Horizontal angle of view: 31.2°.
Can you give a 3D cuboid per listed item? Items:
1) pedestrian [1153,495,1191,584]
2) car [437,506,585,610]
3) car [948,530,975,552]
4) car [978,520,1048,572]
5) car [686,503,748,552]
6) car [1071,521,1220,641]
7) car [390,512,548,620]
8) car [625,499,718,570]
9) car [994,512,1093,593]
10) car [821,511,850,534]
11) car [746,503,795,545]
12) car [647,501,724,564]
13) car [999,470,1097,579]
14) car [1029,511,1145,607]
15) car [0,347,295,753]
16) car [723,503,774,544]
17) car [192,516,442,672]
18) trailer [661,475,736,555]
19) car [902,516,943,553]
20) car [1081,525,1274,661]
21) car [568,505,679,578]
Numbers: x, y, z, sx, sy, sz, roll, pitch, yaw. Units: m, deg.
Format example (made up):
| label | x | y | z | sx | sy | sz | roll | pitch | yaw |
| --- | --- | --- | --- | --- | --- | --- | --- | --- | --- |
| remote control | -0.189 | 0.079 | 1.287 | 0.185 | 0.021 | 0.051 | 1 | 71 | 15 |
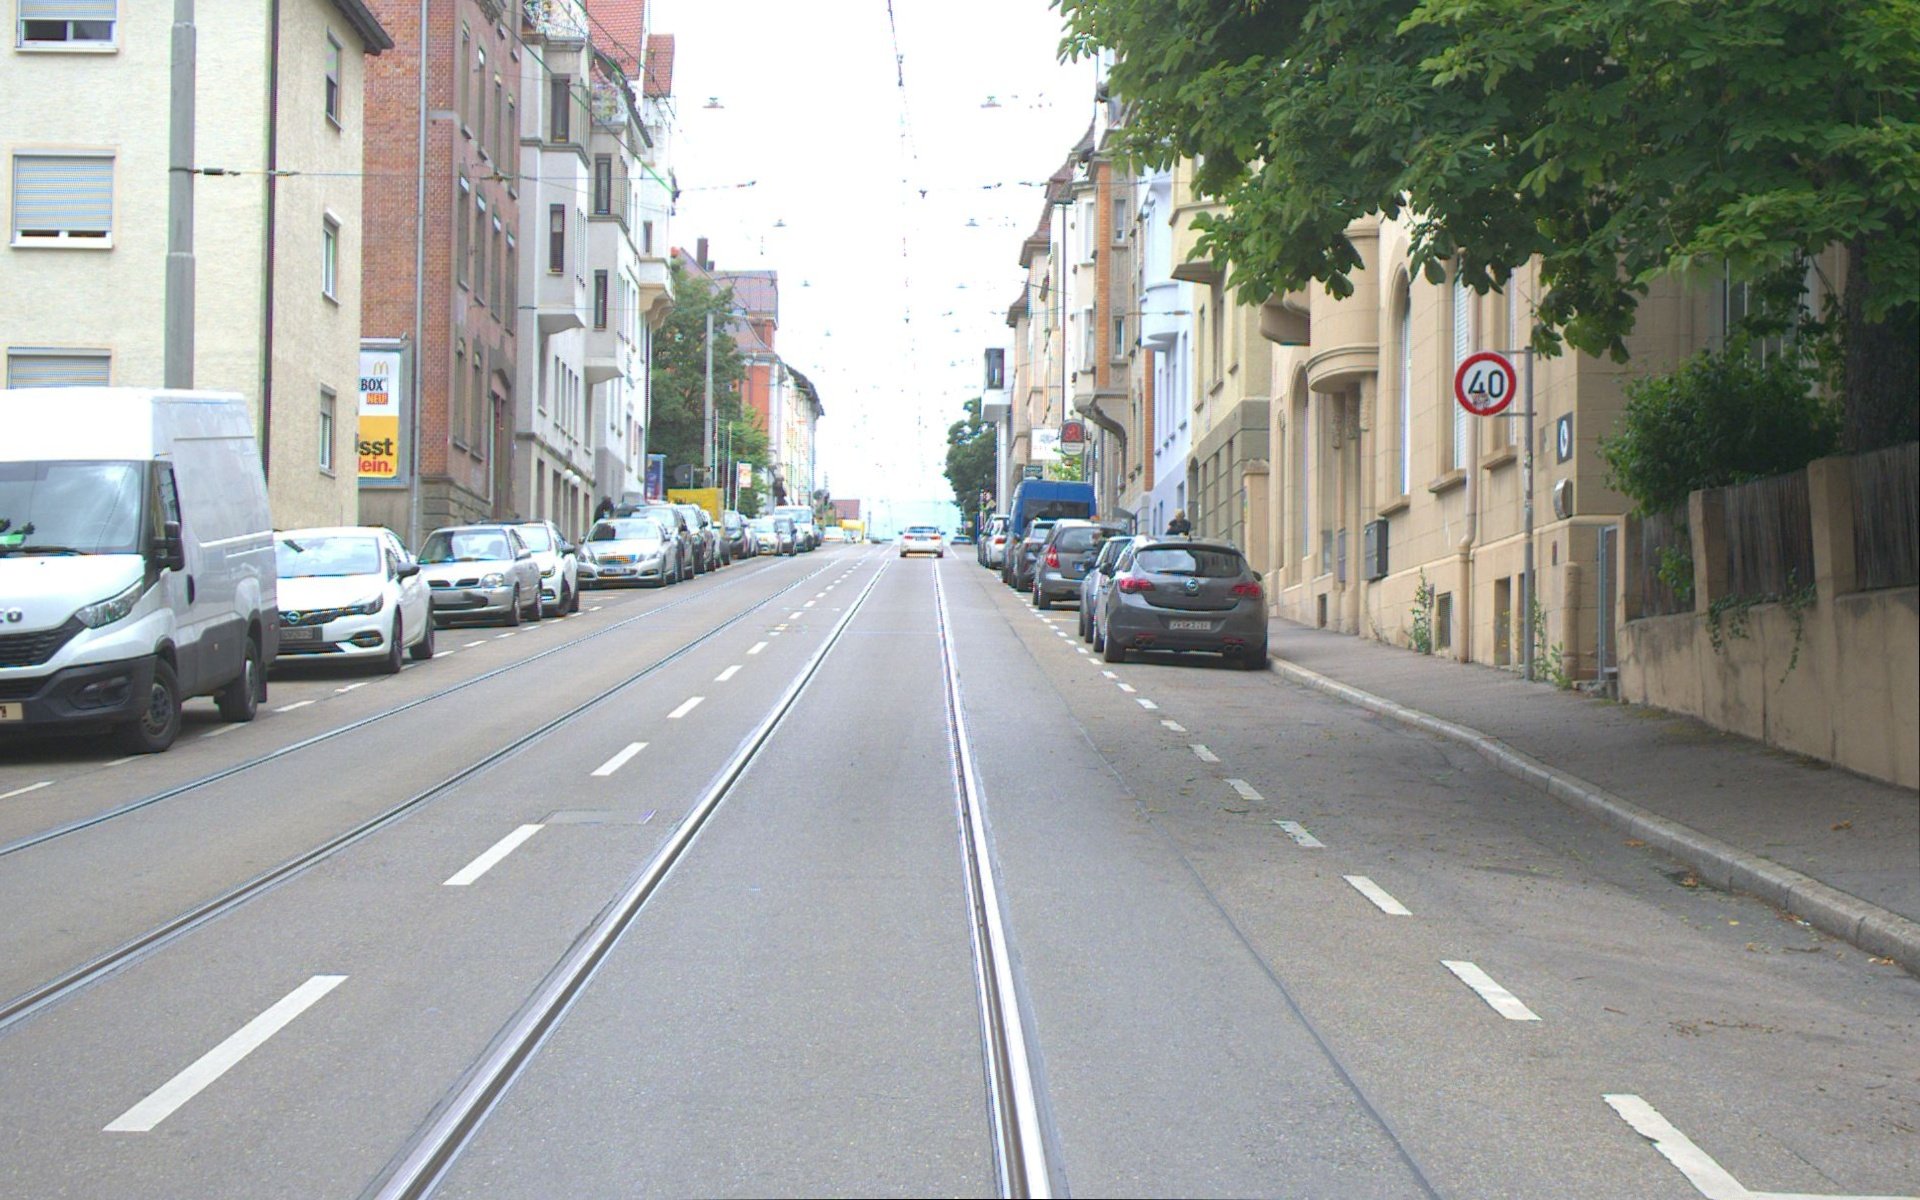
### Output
| label | x | y | z | sx | sy | sz | roll | pitch | yaw |
| --- | --- | --- | --- | --- | --- | --- | --- | --- | --- |
| pedestrian | 4.115 | -1.170 | 66.696 | 0.540 | 1.676 | 0.516 | -4 | -1 | -9 |
| car | -6.891 | -0.685 | 53.210 | 1.827 | 1.424 | 4.628 | -3 | 2 | -3 |
| car | 0.141 | -4.434 | 258.203 | 1.993 | 1.557 | 4.290 | 1 | 1 | 0 |
| car | 1.518 | -1.594 | 100.001 | 1.750 | 1.386 | 4.308 | 3 | 1 | -2 |
| car | -7.609 | -2.282 | 107.886 | 1.697 | 1.463 | 3.023 | -1 | 1 | 0 |
| car | 2.415 | -0.287 | 45.526 | 1.695 | 1.399 | 3.668 | 3 | 2 | 0 |
| car | -6.878 | -0.506 | 48.471 | 1.600 | 1.363 | 3.807 | -3 | 2 | 0 |
| car | -7.189 | -1.663 | 86.027 | 1.873 | 1.658 | 4.892 | -1 | 2 | 0 |
| car | 1.737 | -1.029 | 72.695 | 1.779 | 1.525 | 4.193 | 4 | 1 | -1 |
| car | -8.688 | -5.408 | 240.053 | 1.855 | 1.601 | 4.297 | 1 | 1 | -1 |
| car | -8.090 | -3.268 | 147.118 | 1.744 | 1.730 | 4.519 | -1 | 1 | 1 |
| car | -7.332 | -1.822 | 92.092 | 1.697 | 1.588 | 4.268 | -1 | 2 | 0 |
| car | 1.970 | -1.710 | 78.426 | 1.993 | 2.368 | 5.056 | 1 | 1 | -1 |
| car | 2.216 | -0.756 | 60.847 | 1.827 | 1.513 | 4.028 | 3 | 2 | 0 |
| car | -6.524 | -0.395 | 25.338 | 2.158 | 2.598 | 6.220 | -2 | 2 | -2 |
| car | -8.335 | -3.029 | 135.808 | 1.697 | 1.550 | 3.850 | 1 | 1 | 1 |
| car | -6.453 | -0.111 | 34.915 | 1.719 | 1.398 | 4.314 | -2 | 2 | 0 |
| trailer | -7.303 | -2.386 | 96.250 | 1.748 | 2.148 | 4.071 | -1 | 2 | 0 |
| car | -1.622 | -2.821 | 147.580 | 1.672 | 1.508 | 3.798 | 1 | 1 | -2 |
| car | 2.435 | -0.110 | 39.407 | 1.839 | 1.398 | 4.168 | 3 | 1 | -1 |
| car | -7.026 | -1.259 | 72.243 | 1.827 | 1.424 | 4.839 | -1 | 2 | 0 |
